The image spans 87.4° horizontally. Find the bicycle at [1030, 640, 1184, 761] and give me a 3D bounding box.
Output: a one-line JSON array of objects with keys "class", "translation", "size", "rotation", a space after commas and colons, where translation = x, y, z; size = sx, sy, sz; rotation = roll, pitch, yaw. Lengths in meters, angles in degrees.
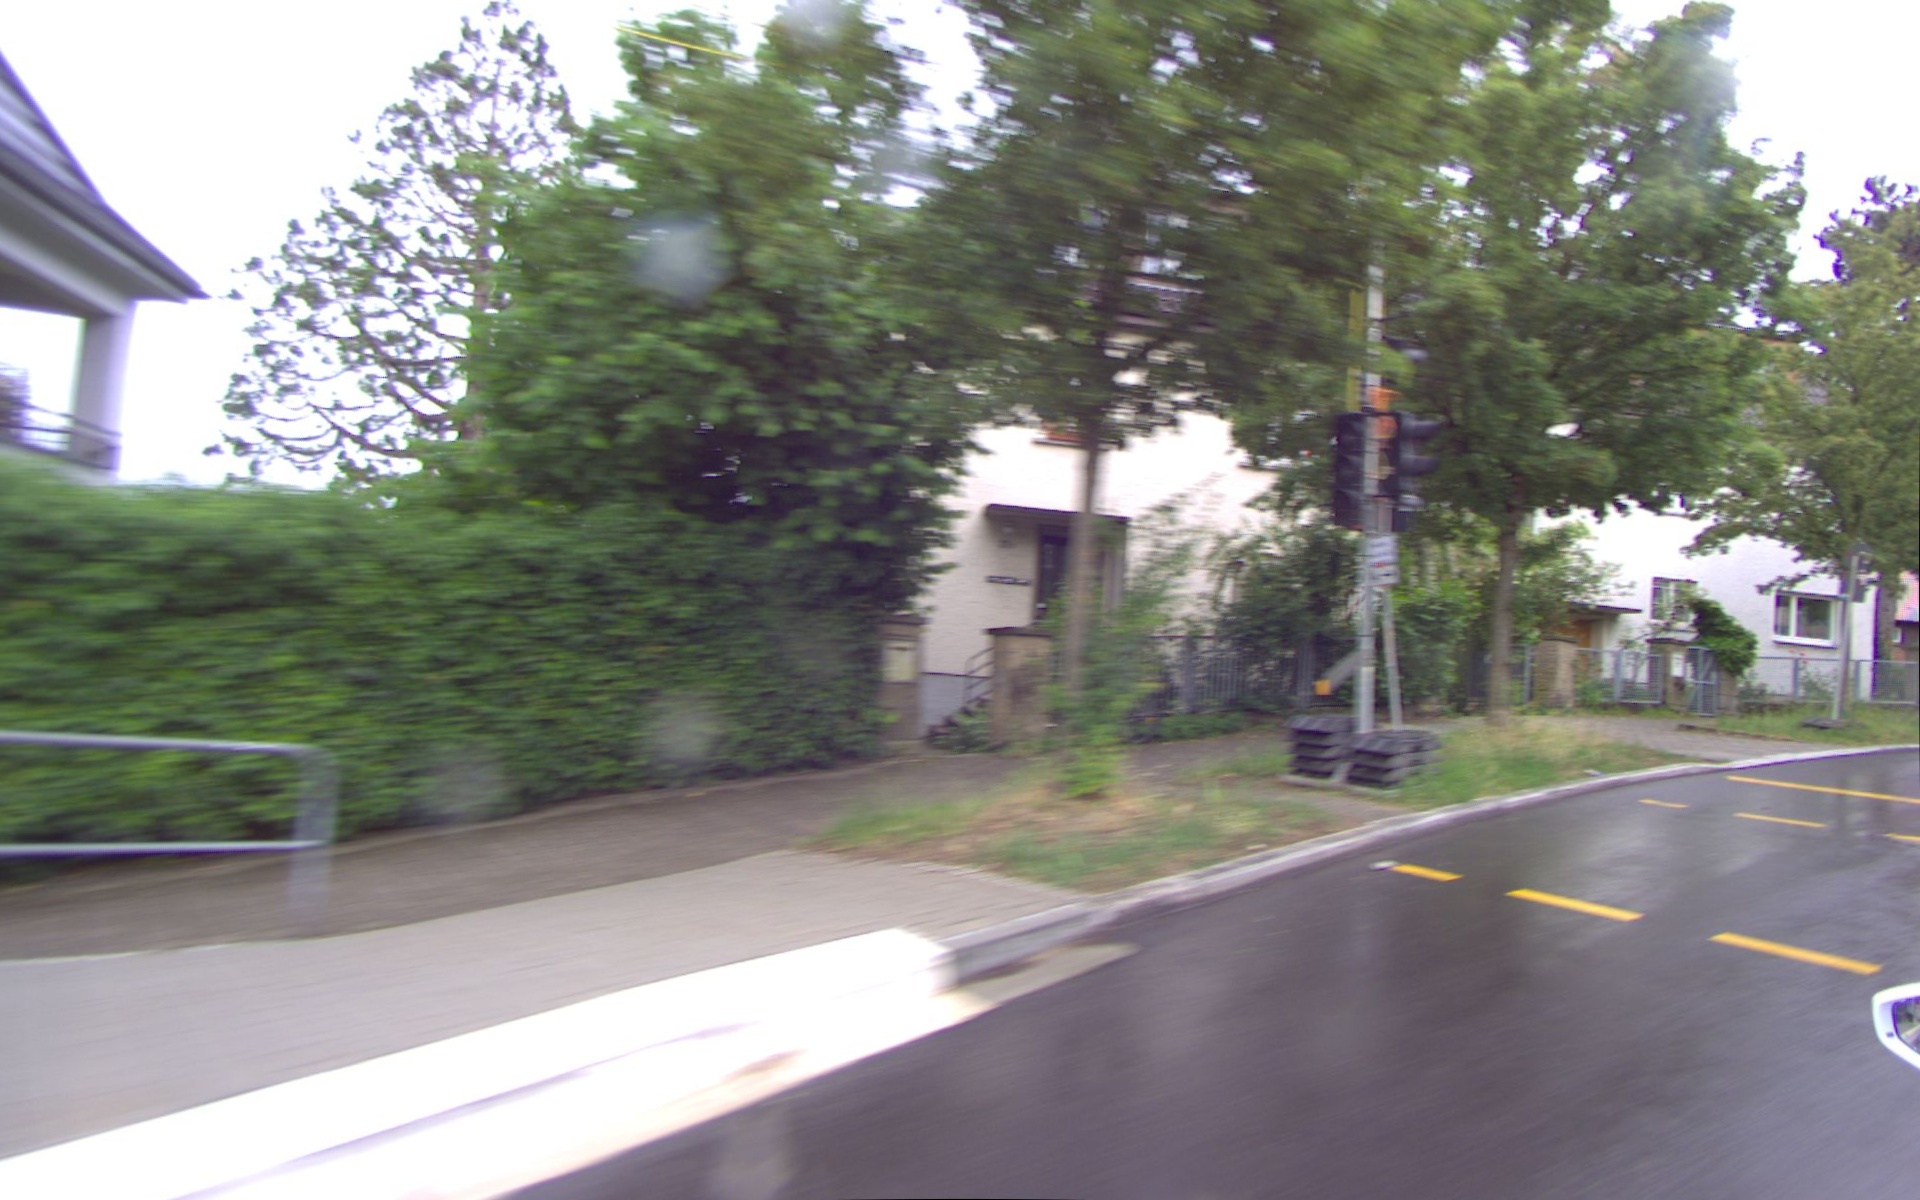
[{"class": "bicycle", "translation": [1.813, 1.149, 12.082], "size": [2.256, 1.289, 0.486], "rotation": [1, 1, -42]}]

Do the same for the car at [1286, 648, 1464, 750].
[{"class": "car", "translation": [8.669, 2.198, 21.416], "size": [1.820, 1.602, 4.007], "rotation": [2, -13, -4]}]
